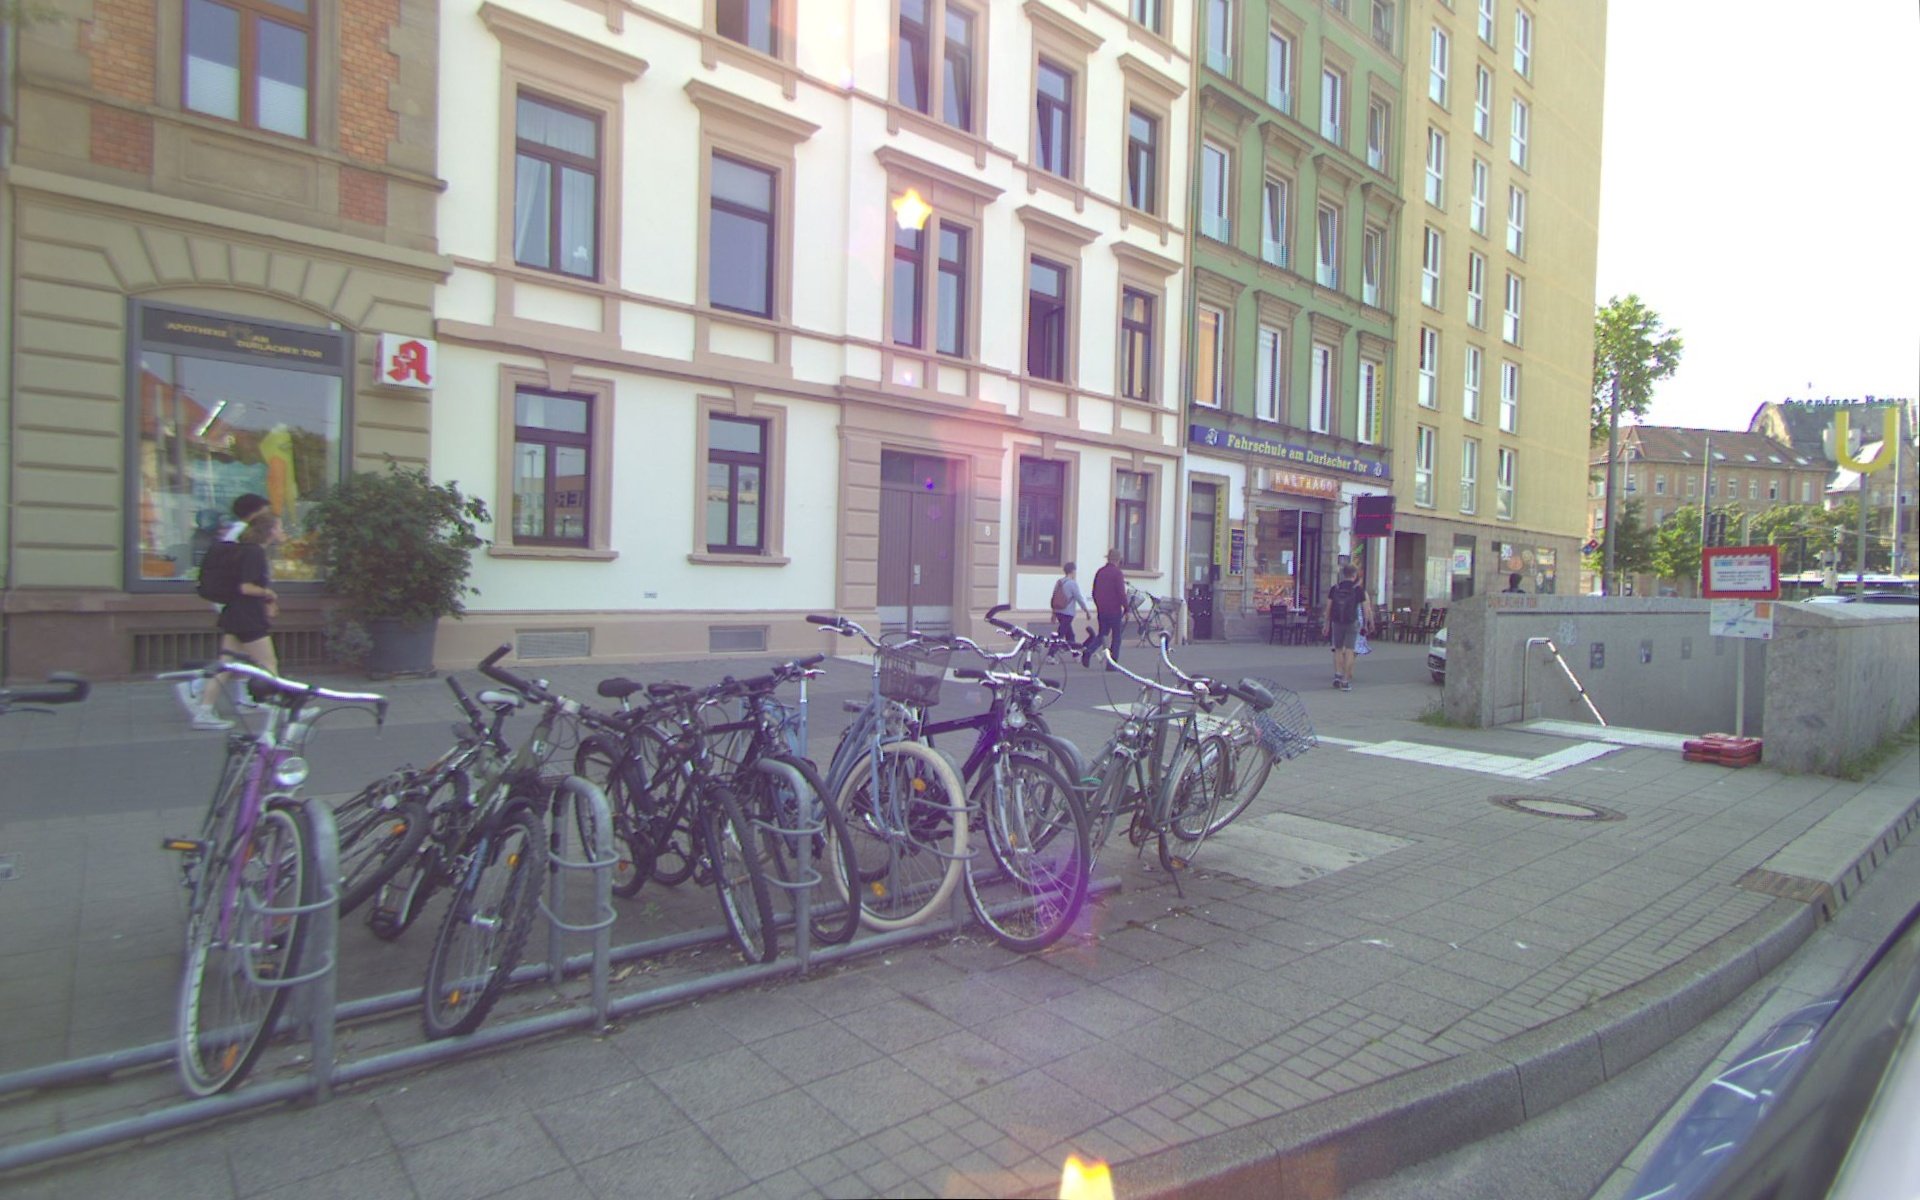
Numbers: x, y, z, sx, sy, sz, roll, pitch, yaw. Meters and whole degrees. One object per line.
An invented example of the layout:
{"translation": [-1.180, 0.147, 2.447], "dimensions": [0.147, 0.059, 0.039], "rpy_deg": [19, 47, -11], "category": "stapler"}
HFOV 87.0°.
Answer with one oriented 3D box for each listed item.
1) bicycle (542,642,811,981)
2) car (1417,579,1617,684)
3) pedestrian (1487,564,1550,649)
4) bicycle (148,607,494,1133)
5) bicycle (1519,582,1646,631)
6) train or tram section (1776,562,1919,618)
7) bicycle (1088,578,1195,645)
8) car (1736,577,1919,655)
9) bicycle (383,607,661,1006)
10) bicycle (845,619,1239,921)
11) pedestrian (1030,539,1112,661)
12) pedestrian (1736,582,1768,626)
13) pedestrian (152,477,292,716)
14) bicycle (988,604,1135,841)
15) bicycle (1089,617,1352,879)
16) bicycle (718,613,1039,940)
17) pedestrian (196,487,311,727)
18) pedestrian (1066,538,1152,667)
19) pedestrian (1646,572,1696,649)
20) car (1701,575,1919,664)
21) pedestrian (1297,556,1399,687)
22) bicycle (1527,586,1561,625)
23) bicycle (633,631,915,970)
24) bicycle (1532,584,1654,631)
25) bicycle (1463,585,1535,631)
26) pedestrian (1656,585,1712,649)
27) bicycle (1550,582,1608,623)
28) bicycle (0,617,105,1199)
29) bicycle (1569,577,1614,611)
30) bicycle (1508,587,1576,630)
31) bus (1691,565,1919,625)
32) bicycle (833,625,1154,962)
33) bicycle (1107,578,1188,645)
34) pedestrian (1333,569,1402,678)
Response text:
{"translation": [-1.140, 0.684, 3.846], "dimensions": [0.358, 0.964, 1.540], "rpy_deg": [2, 0, -40], "category": "bicycle"}
{"translation": [8.971, 0.468, 16.201], "dimensions": [3.556, 1.458, 1.634], "rpy_deg": [1, 1, -41], "category": "car"}
{"translation": [10.991, 0.103, 19.939], "dimensions": [0.841, 1.601, 0.966], "rpy_deg": [2, 2, 16], "category": "pedestrian"}
{"translation": [-1.983, 0.592, 3.025], "dimensions": [0.632, 1.085, 1.661], "rpy_deg": [2, 0, -40], "category": "bicycle"}
{"translation": [20.010, 0.178, 32.610], "dimensions": [3.314, 1.422, 0.900], "rpy_deg": [2, 1, 14], "category": "bicycle"}
{"translation": [62.605, -0.719, 69.311], "dimensions": [2.543, 3.604, 12.234], "rpy_deg": [2, 2, -6], "category": "train or tram section"}
{"translation": [3.458, 0.233, 19.114], "dimensions": [2.426, 1.161, 0.481], "rpy_deg": [3, 0, -39], "category": "bicycle"}
{"translation": [21.601, 0.367, 24.197], "dimensions": [4.319, 1.708, 1.982], "rpy_deg": [2, 1, 8], "category": "car"}
{"translation": [-1.620, 0.592, 3.604], "dimensions": [0.463, 1.085, 1.540], "rpy_deg": [2, 0, -40], "category": "bicycle"}
{"translation": [0.267, 0.673, 4.801], "dimensions": [0.375, 1.085, 2.123], "rpy_deg": [2, 0, -44], "category": "bicycle"}
{"translation": [1.699, -0.002, 15.474], "dimensions": [1.000, 1.796, 0.685], "rpy_deg": [2, 1, -41], "category": "pedestrian"}
{"translation": [30.313, 0.126, 38.715], "dimensions": [0.934, 1.628, 0.792], "rpy_deg": [0, 3, -44], "category": "pedestrian"}
{"translation": [-5.982, -0.047, 8.208], "dimensions": [0.864, 1.816, 0.601], "rpy_deg": [0, 4, -41], "category": "pedestrian"}
{"translation": [0.520, 0.604, 5.754], "dimensions": [0.679, 1.134, 1.563], "rpy_deg": [1, 0, 1], "category": "bicycle"}
{"translation": [1.325, 0.648, 5.006], "dimensions": [1.479, 1.084, 0.476], "rpy_deg": [0, 2, -41], "category": "bicycle"}
{"translation": [-0.444, 0.630, 4.369], "dimensions": [0.358, 1.085, 1.839], "rpy_deg": [2, 0, -40], "category": "bicycle"}
{"translation": [-5.518, 0.035, 7.902], "dimensions": [0.667, 1.771, 0.578], "rpy_deg": [0, 4, -41], "category": "pedestrian"}
{"translation": [2.152, 0.029, 14.625], "dimensions": [1.000, 1.796, 0.685], "rpy_deg": [2, 1, -41], "category": "pedestrian"}
{"translation": [16.294, 0.238, 23.186], "dimensions": [0.926, 1.706, 0.672], "rpy_deg": [1, 2, -41], "category": "pedestrian"}
{"translation": [19.143, 0.394, 21.847], "dimensions": [4.588, 1.735, 2.040], "rpy_deg": [2, 1, 8], "category": "car"}
{"translation": [5.476, 0.297, 14.310], "dimensions": [0.952, 1.750, 0.853], "rpy_deg": [3, 1, -34], "category": "pedestrian"}
{"translation": [19.018, 0.179, 32.934], "dimensions": [1.796, 1.254, 0.409], "rpy_deg": [0, 1, -43], "category": "bicycle"}
{"translation": [-0.800, 0.673, 3.995], "dimensions": [0.358, 1.029, 1.540], "rpy_deg": [2, 0, -40], "category": "bicycle"}
{"translation": [21.357, 0.239, 34.211], "dimensions": [3.314, 1.422, 0.900], "rpy_deg": [2, 1, 14], "category": "bicycle"}
{"translation": [15.715, 0.221, 29.488], "dimensions": [2.377, 1.254, 0.941], "rpy_deg": [1, 1, -38], "category": "bicycle"}
{"translation": [18.725, 0.425, 26.187], "dimensions": [0.841, 1.601, 0.966], "rpy_deg": [2, 2, 16], "category": "pedestrian"}
{"translation": [19.952, 0.082, 32.625], "dimensions": [1.514, 1.254, 0.593], "rpy_deg": [2, 1, -8], "category": "bicycle"}
{"translation": [-2.539, 0.620, 2.501], "dimensions": [0.632, 1.085, 1.661], "rpy_deg": [0, 1, -40], "category": "bicycle"}
{"translation": [24.970, -0.235, 39.988], "dimensions": [2.392, 1.254, 0.793], "rpy_deg": [0, 2, -41], "category": "bicycle"}
{"translation": [17.876, 0.250, 31.081], "dimensions": [2.377, 1.254, 0.941], "rpy_deg": [1, 1, -38], "category": "bicycle"}
{"translation": [49.532, -0.415, 59.292], "dimensions": [2.677, 3.102, 12.108], "rpy_deg": [2, 1, -12], "category": "bus"}
{"translation": [0.065, 0.677, 4.162], "dimensions": [0.358, 1.085, 1.540], "rpy_deg": [2, 0, -40], "category": "bicycle"}
{"translation": [3.569, 0.205, 19.172], "dimensions": [1.815, 1.198, 0.459], "rpy_deg": [0, 2, -41], "category": "bicycle"}
{"translation": [6.244, 0.328, 15.561], "dimensions": [0.841, 1.601, 0.966], "rpy_deg": [2, 2, 16], "category": "pedestrian"}
